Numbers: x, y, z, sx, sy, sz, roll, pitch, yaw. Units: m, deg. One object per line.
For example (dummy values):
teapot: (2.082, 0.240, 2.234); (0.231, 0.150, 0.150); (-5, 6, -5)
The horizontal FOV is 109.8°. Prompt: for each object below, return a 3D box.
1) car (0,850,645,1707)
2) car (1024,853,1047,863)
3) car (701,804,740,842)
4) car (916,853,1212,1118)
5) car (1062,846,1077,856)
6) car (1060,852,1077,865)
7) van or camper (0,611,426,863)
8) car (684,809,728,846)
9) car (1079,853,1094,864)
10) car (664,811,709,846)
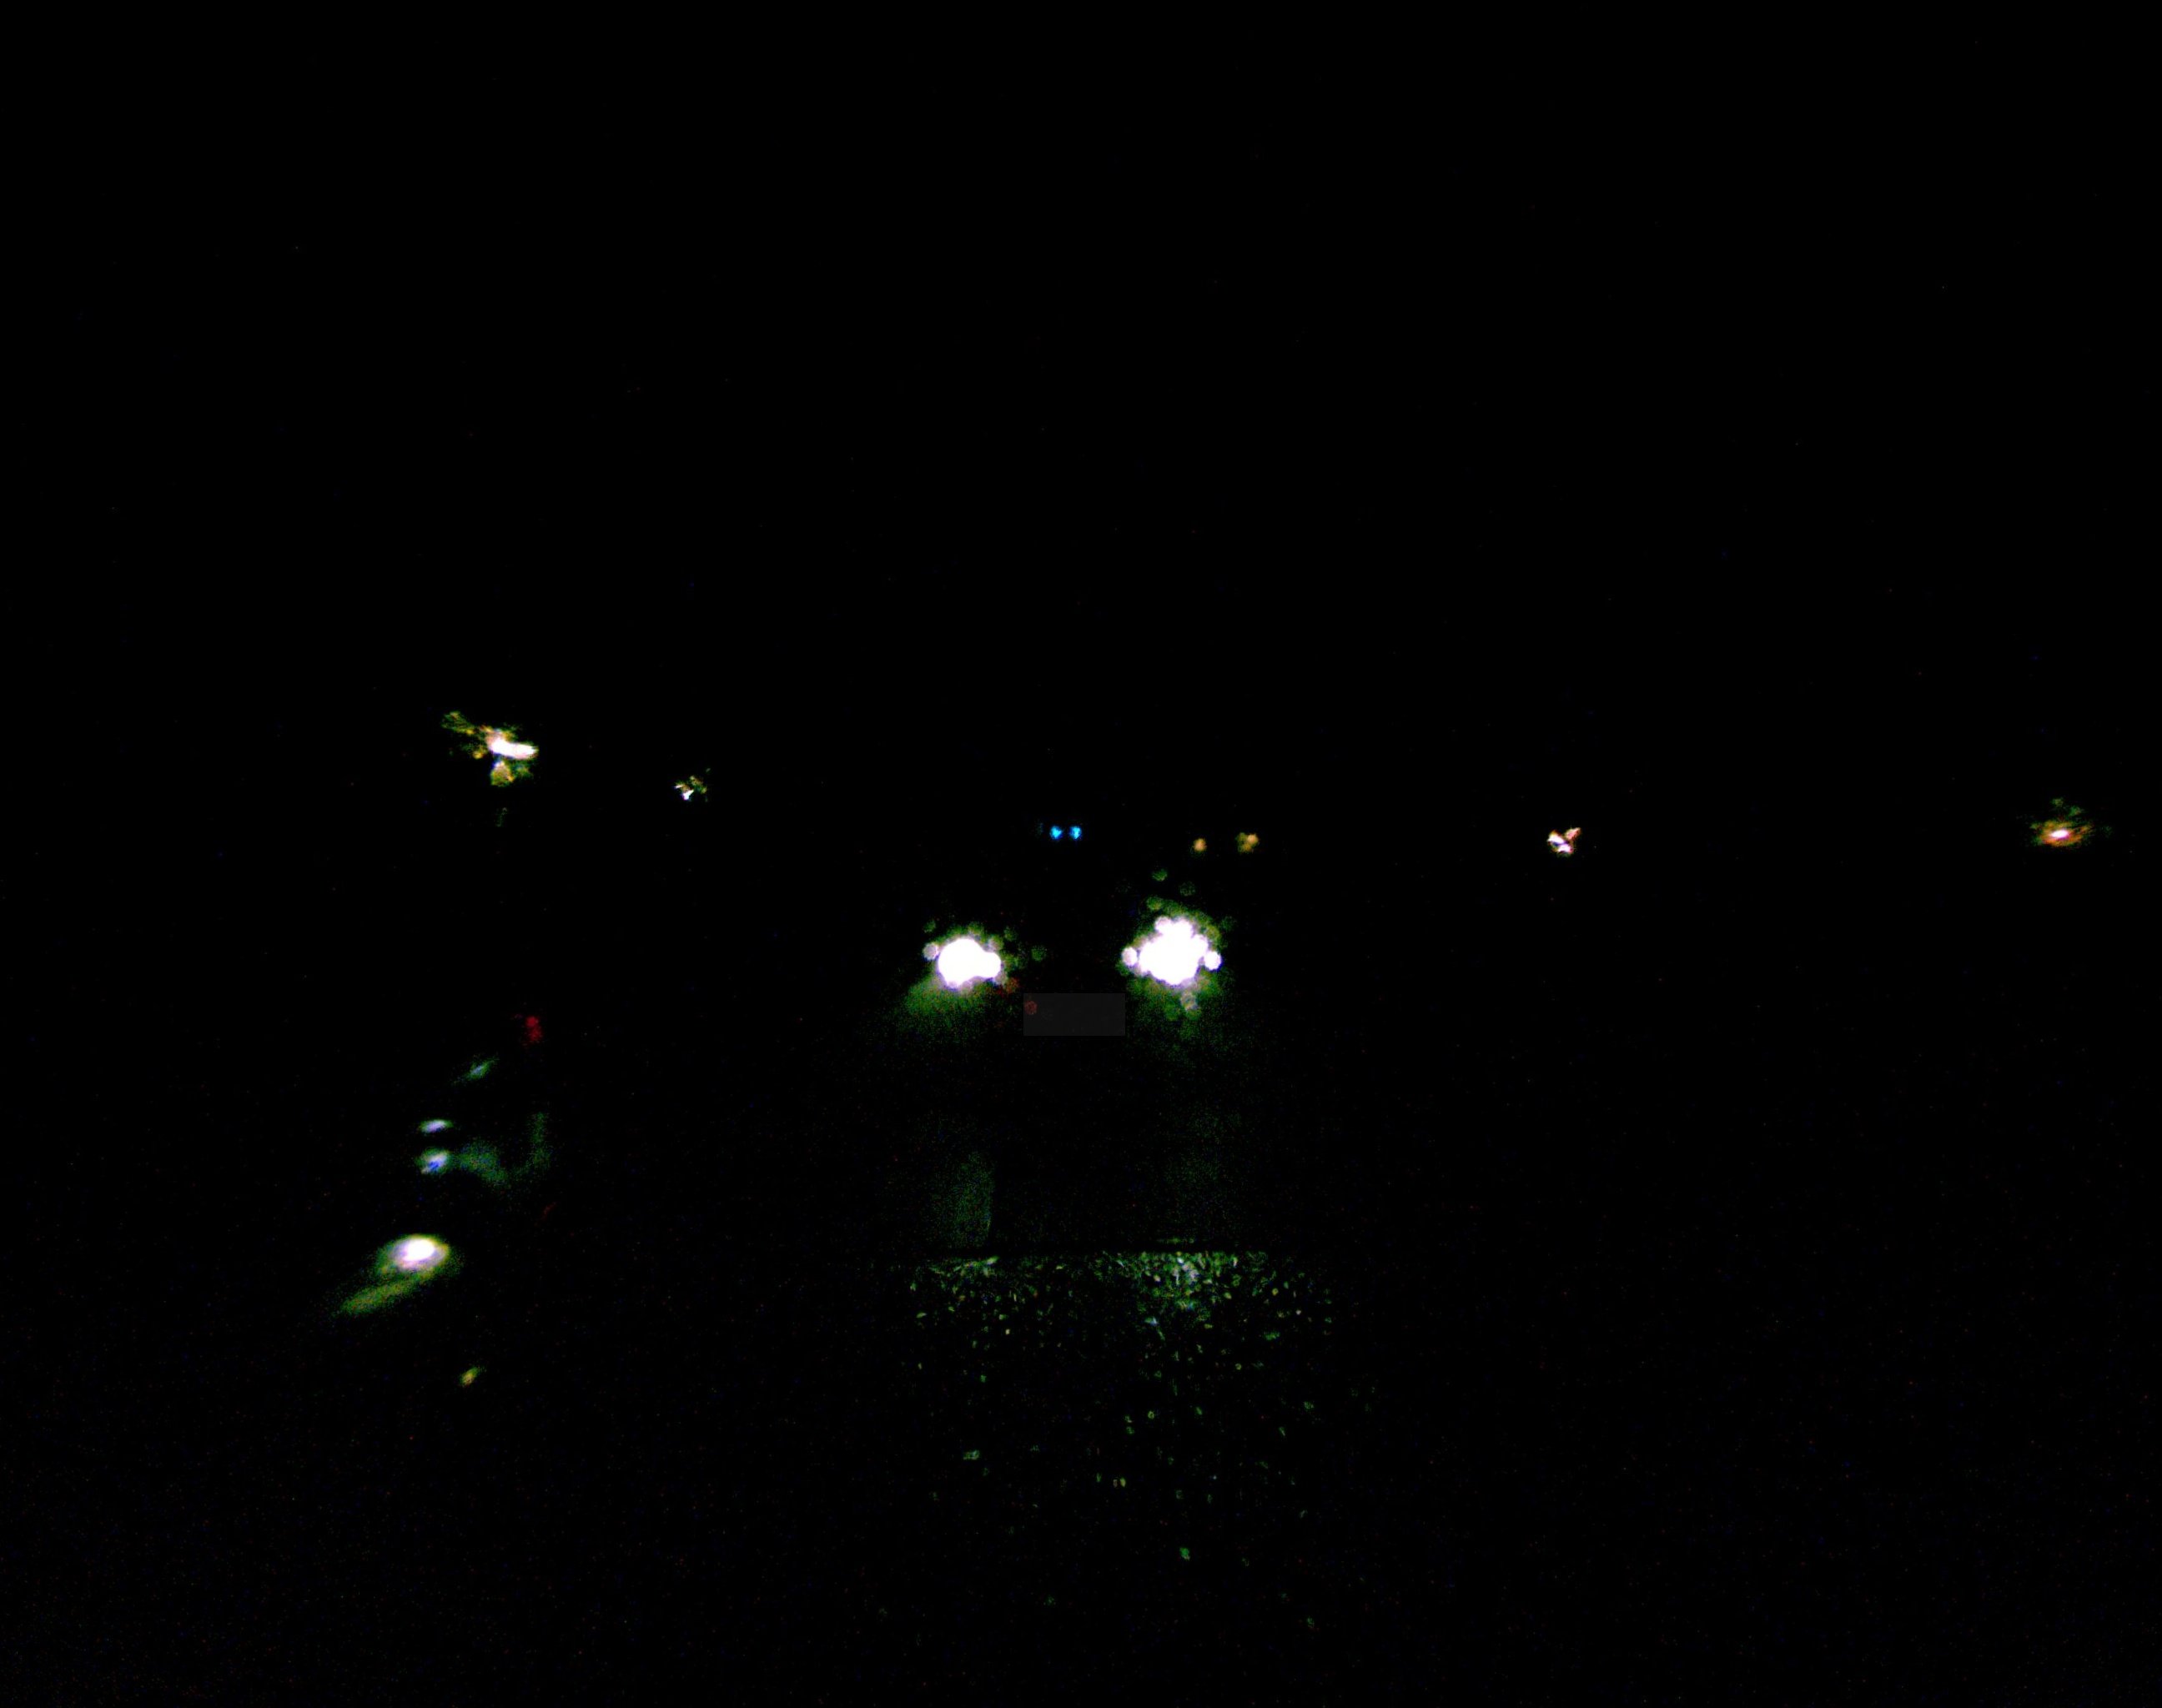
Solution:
car: (-2.660, 0.933, 0.215); (1.838, 1.725, 4.942); (-2, 1, 5)
car: (-8.174, 0.660, 135.908); (2.003, 1.687, 3.989); (-3, 1, -38)
car: (-27.810, -2.347, 58.753); (1.937, 2.759, 4.249); (-3, 1, -16)
car: (-0.079, 0.842, 7.038); (1.826, 1.573, 4.353); (-2, 1, 1)
car: (-2.346, -0.598, 151.522); (2.092, 2.002, 4.707); (-2, 1, -13)
car: (-2.055, 0.649, 123.609); (2.000, 2.002, 3.995); (-3, 1, -12)
van or camper: (-12.757, -1.332, 11.291); (2.417, 2.777, 5.763); (-3, 1, -18)
car: (-26.354, -1.814, 53.538); (1.937, 2.406, 4.249); (-3, 1, -16)
car: (0.822, 0.637, 116.530); (1.893, 1.559, 4.484); (-2, -1, -6)
car: (-24.989, -1.589, 48.222); (1.735, 2.002, 3.696); (-3, 1, -16)
